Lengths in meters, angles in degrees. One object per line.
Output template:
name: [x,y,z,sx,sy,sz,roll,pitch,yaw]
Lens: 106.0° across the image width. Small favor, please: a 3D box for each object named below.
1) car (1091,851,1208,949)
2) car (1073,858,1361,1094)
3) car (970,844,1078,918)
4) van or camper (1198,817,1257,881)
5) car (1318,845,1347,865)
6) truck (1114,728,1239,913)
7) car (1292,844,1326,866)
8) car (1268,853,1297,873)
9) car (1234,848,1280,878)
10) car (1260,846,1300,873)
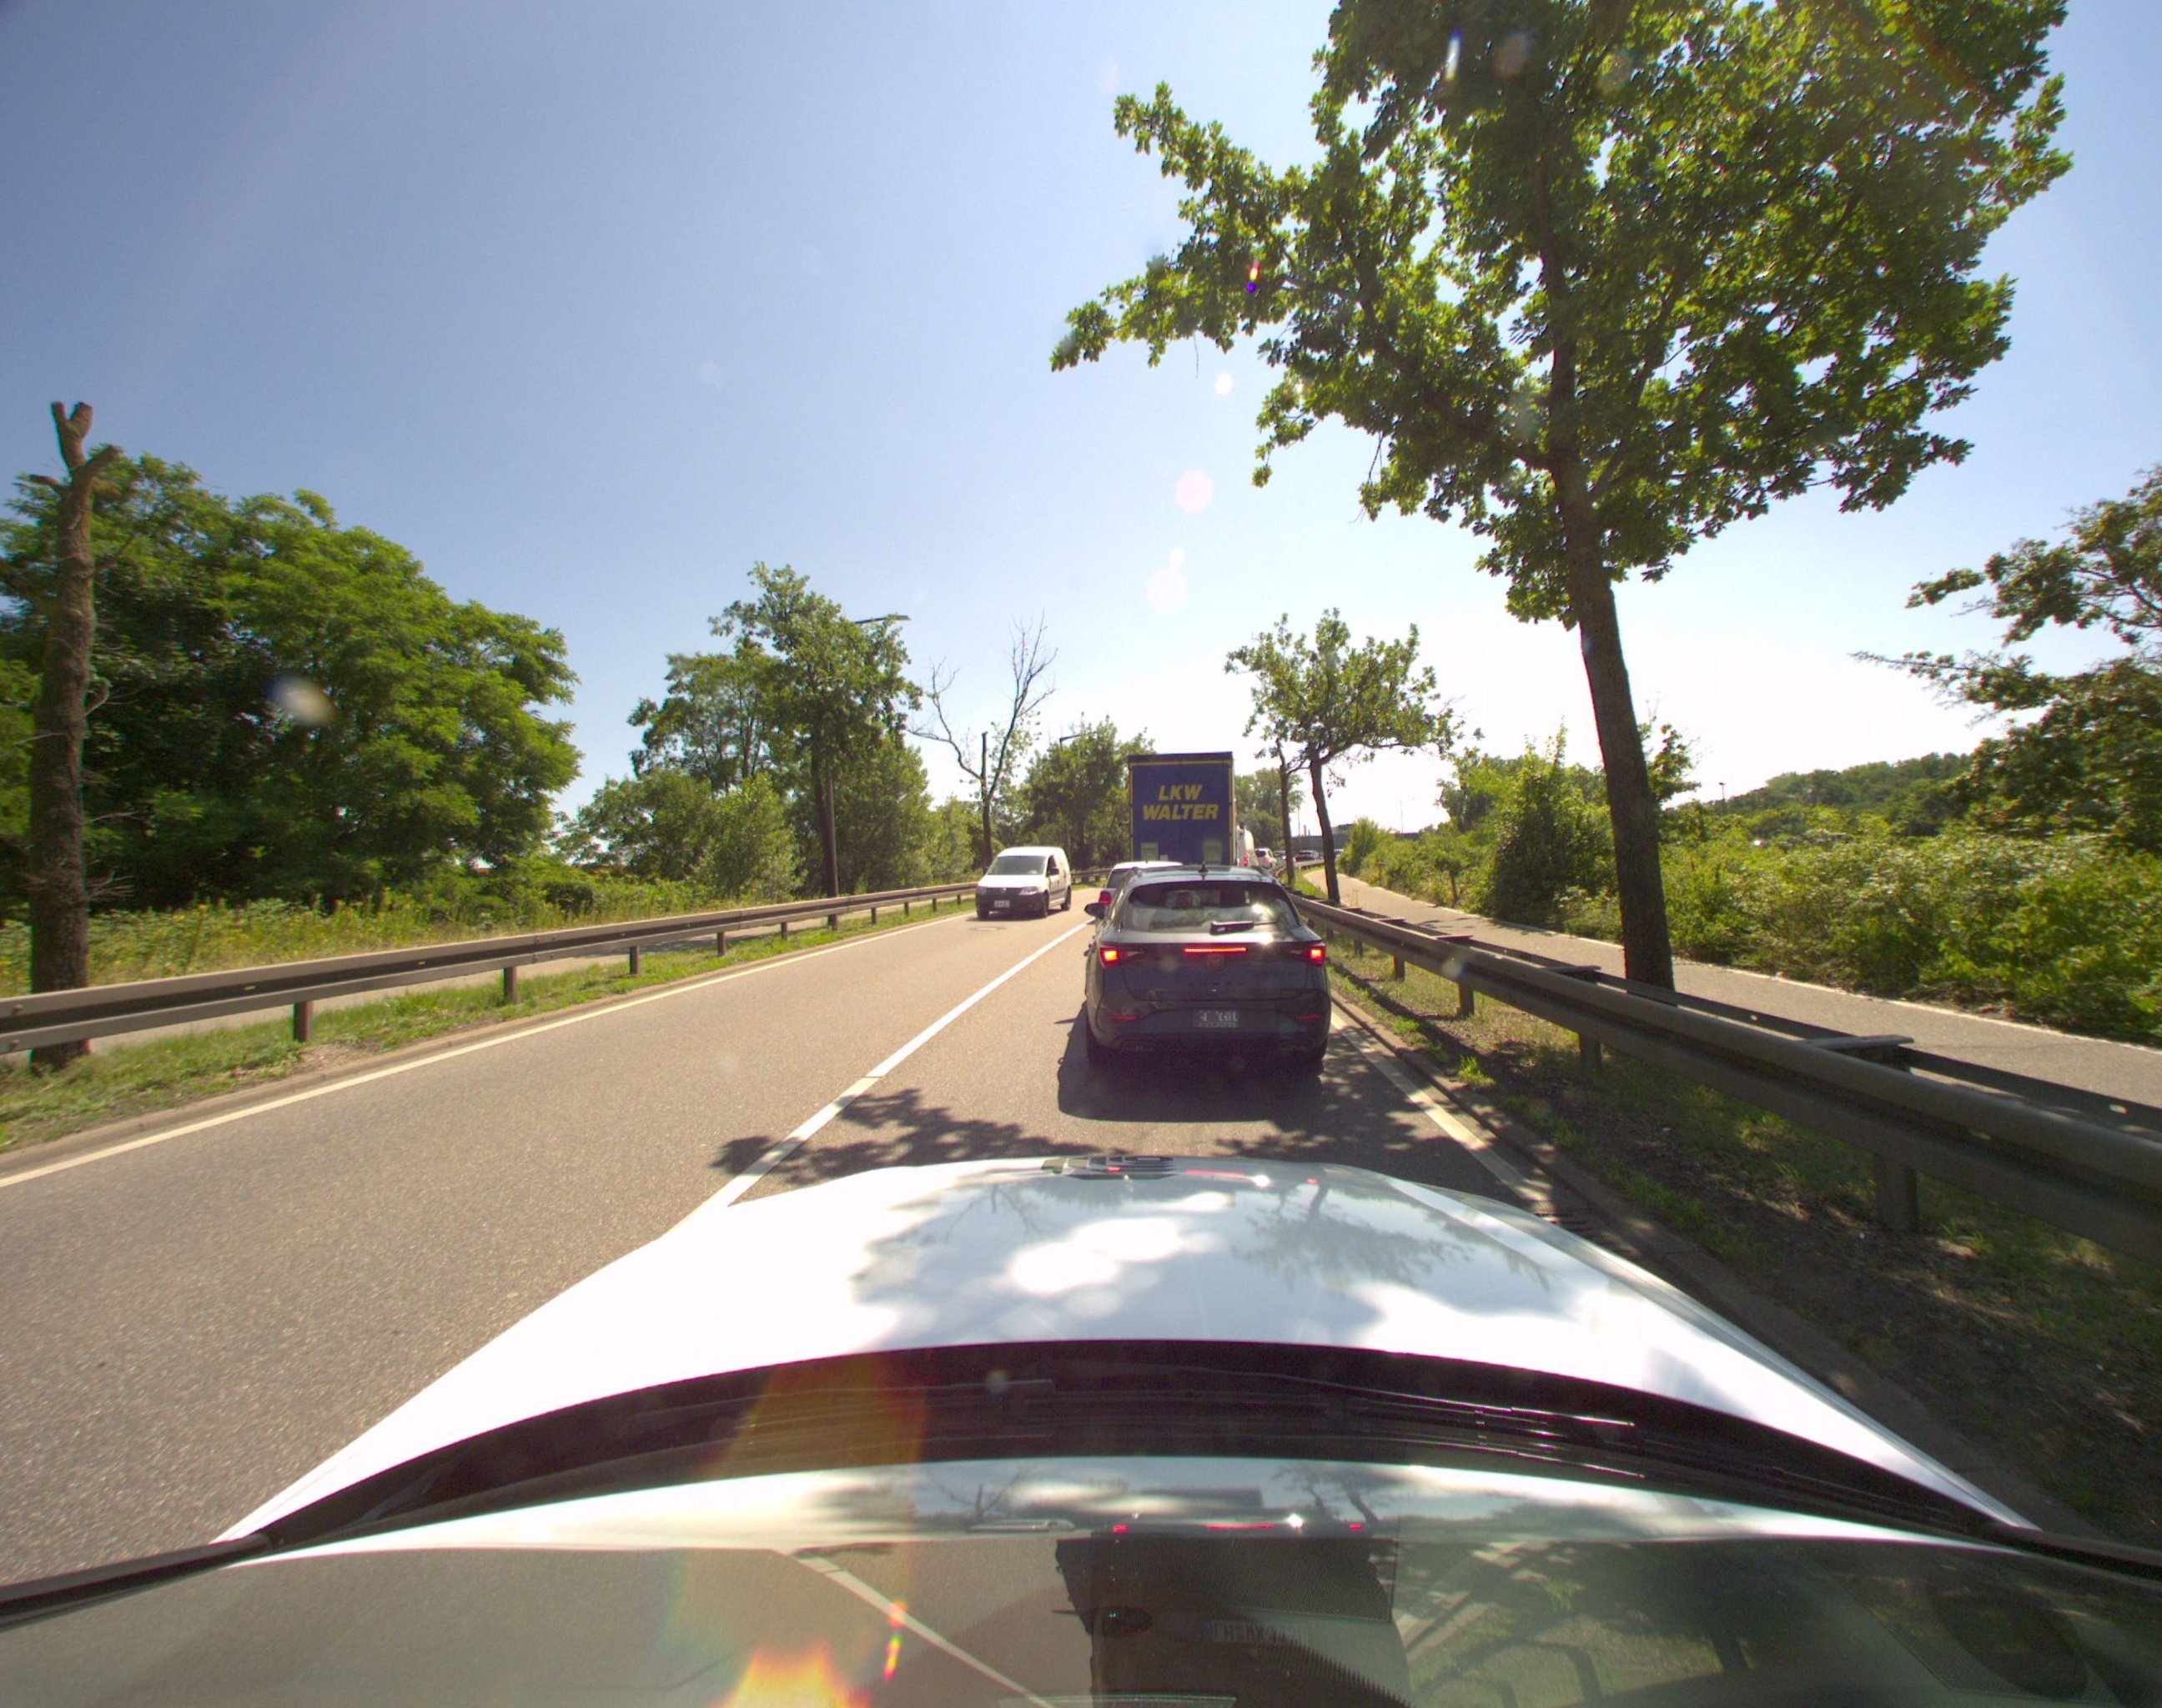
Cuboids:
car: [1.174,0.726,14.745,1.802,1.508,4.003,-1,0,3]
car: [0.938,0.759,6.924,1.737,1.432,3.883,-1,0,3]
car: [-1.391,0.658,21.805,1.734,1.763,4.403,-1,0,12]
van or camper: [7.546,-0.203,41.497,2.448,2.998,6.110,-1,0,15]
car: [24.084,0.085,77.875,1.975,1.768,4.782,-1,0,25]
truck: [3.910,-0.775,28.047,2.931,4.449,16.849,-1,0,11]
car: [18.923,0.102,67.494,1.975,1.717,4.896,-1,0,24]
car: [18.907,0.821,76.360,1.729,1.763,4.462,-1,0,25]
car: [10.810,0.520,49.709,1.976,1.712,4.644,-1,0,22]
car: [13.848,0.371,56.368,1.976,1.808,4.871,-1,0,22]
